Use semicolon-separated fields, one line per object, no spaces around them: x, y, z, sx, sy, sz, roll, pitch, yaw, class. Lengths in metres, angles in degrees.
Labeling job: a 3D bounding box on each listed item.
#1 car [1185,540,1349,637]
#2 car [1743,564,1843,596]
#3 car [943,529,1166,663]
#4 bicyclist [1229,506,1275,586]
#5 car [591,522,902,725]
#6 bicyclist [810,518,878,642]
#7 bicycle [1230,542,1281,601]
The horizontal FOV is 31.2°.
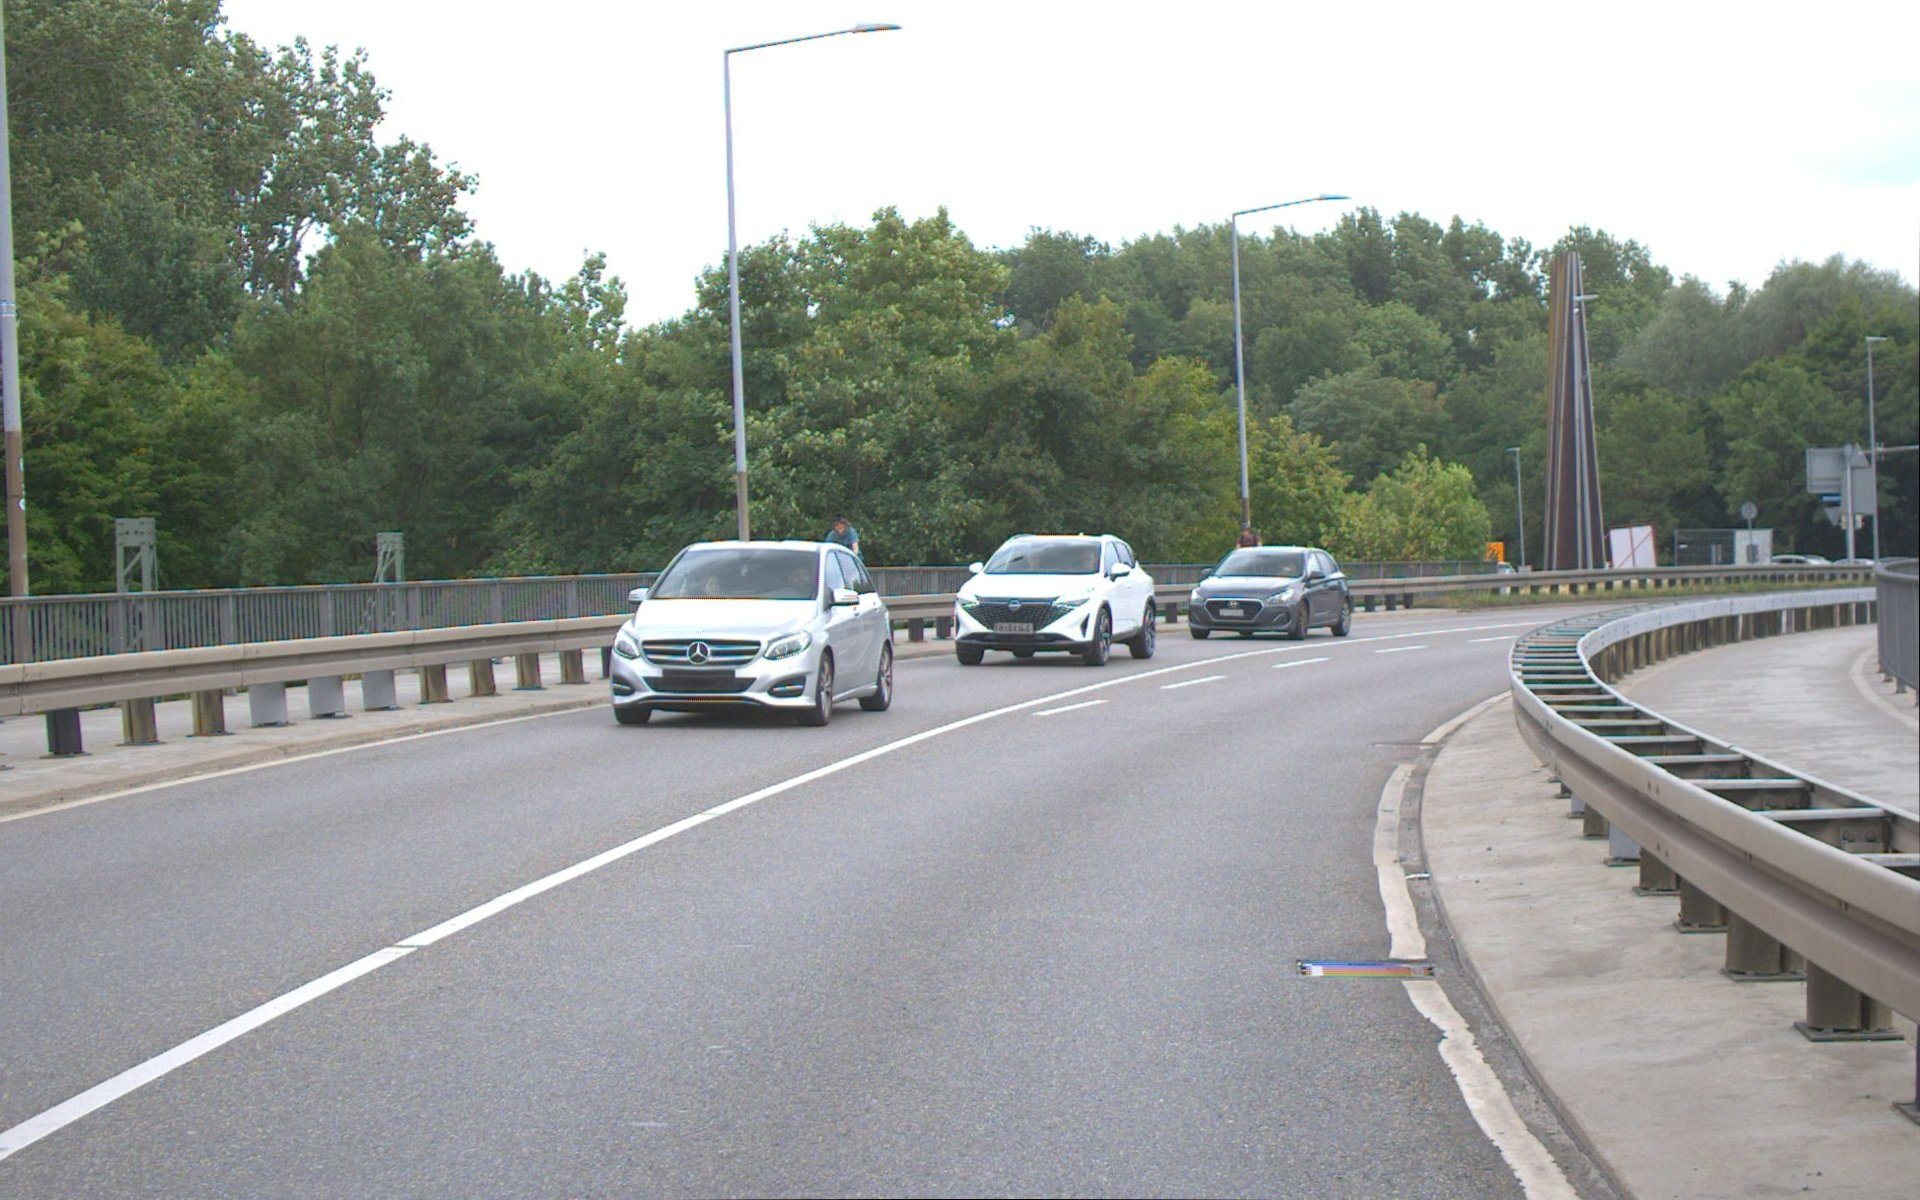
4.918;-0.205;54.571;1.810;1.472;4.379;0;1;16;car
35.489;-0.862;146.485;1.993;1.305;3.806;0;1;-33;car
1.264;-0.076;43.390;1.941;1.588;4.771;0;1;13;car
5.952;-1.096;70.025;0.772;1.626;0.648;0;-1;20;bicyclist
-1.757;0.162;29.762;1.818;1.614;4.396;0;1;8;car
-1.696;-0.291;50.538;0.849;1.802;0.796;0;1;10;bicyclist
6.023;-0.583;70.055;0.635;1.170;1.904;0;1;17;bicycle
